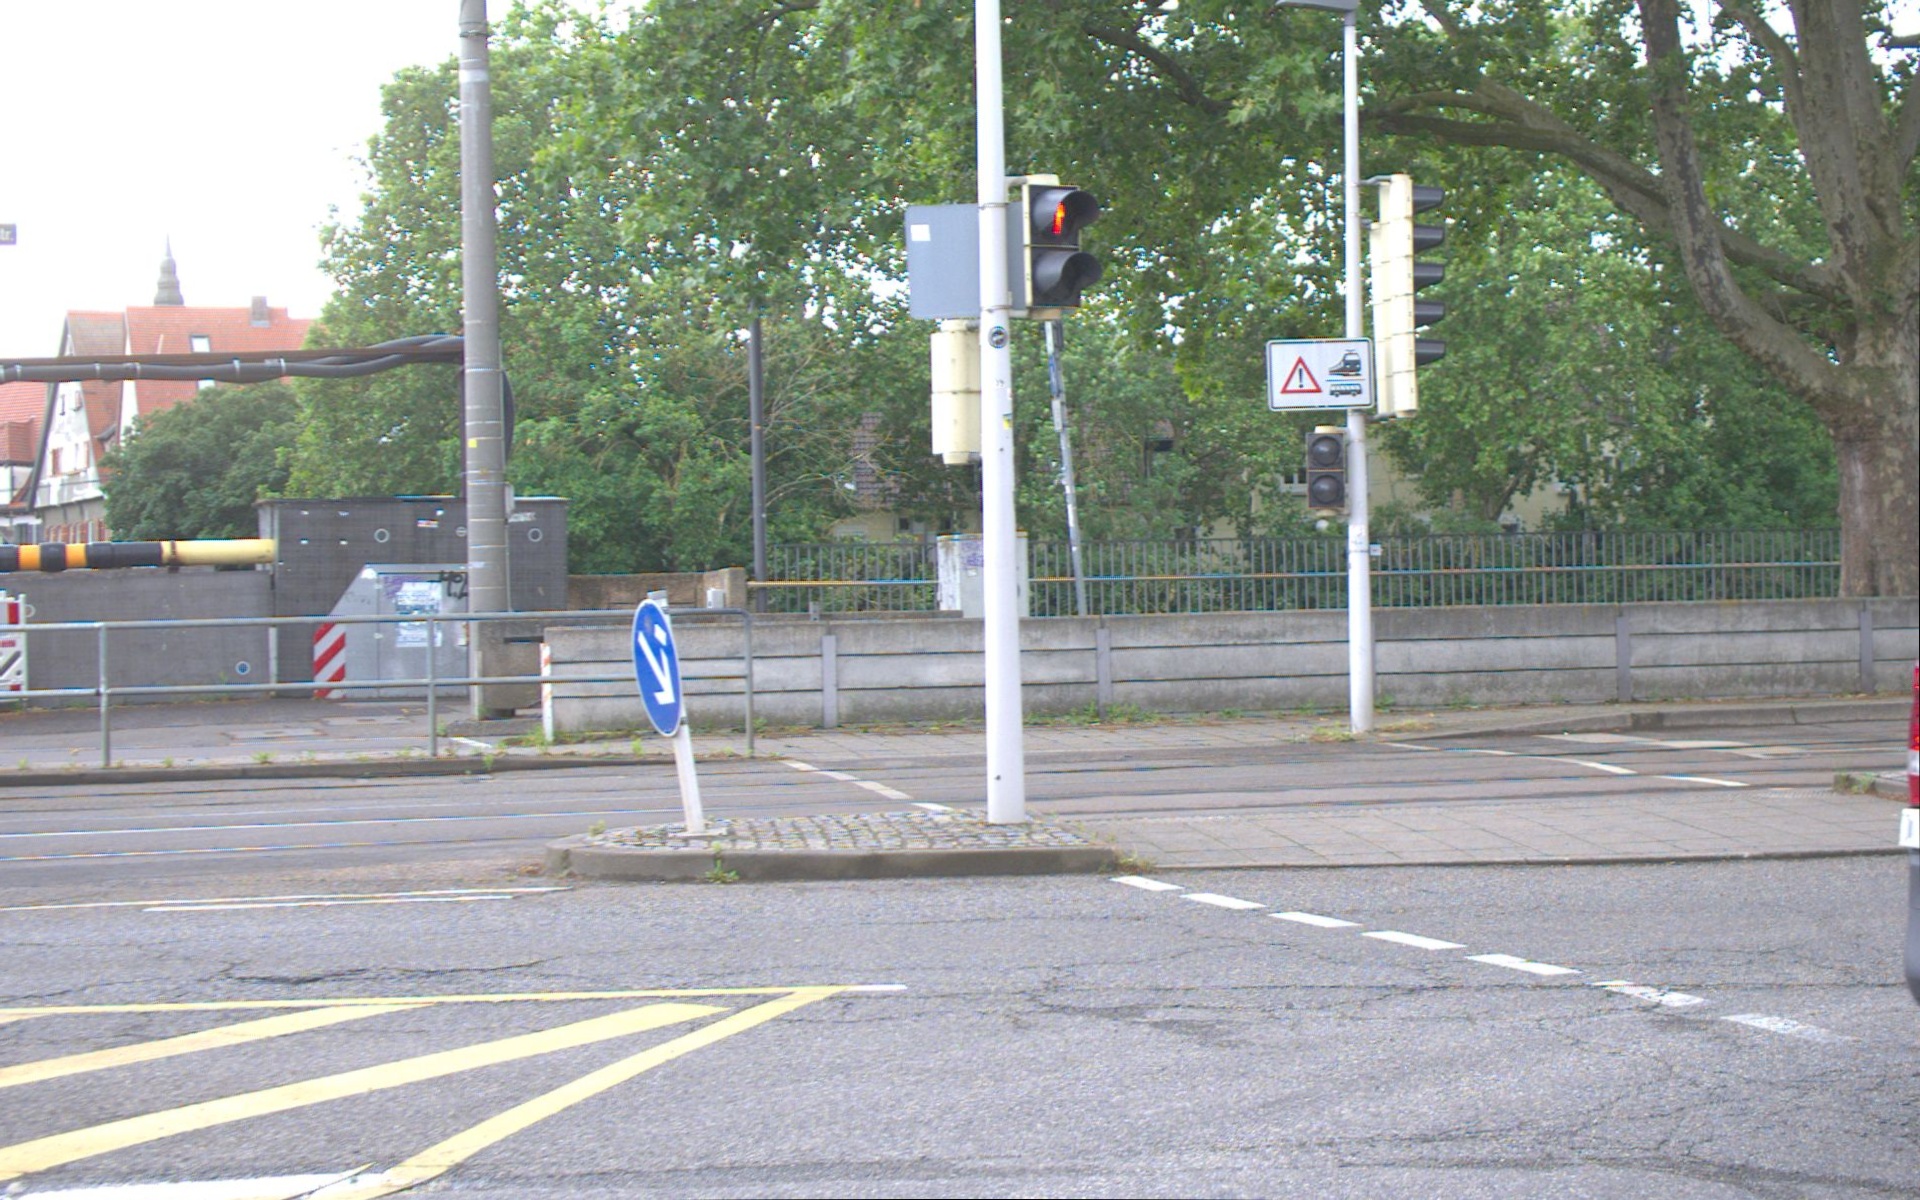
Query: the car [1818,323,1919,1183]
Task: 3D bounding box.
[{"bbox_3d":[4.468,0.358,9.027,4.684,2.007,1.956,0,1,-41],"label":"car"}]
